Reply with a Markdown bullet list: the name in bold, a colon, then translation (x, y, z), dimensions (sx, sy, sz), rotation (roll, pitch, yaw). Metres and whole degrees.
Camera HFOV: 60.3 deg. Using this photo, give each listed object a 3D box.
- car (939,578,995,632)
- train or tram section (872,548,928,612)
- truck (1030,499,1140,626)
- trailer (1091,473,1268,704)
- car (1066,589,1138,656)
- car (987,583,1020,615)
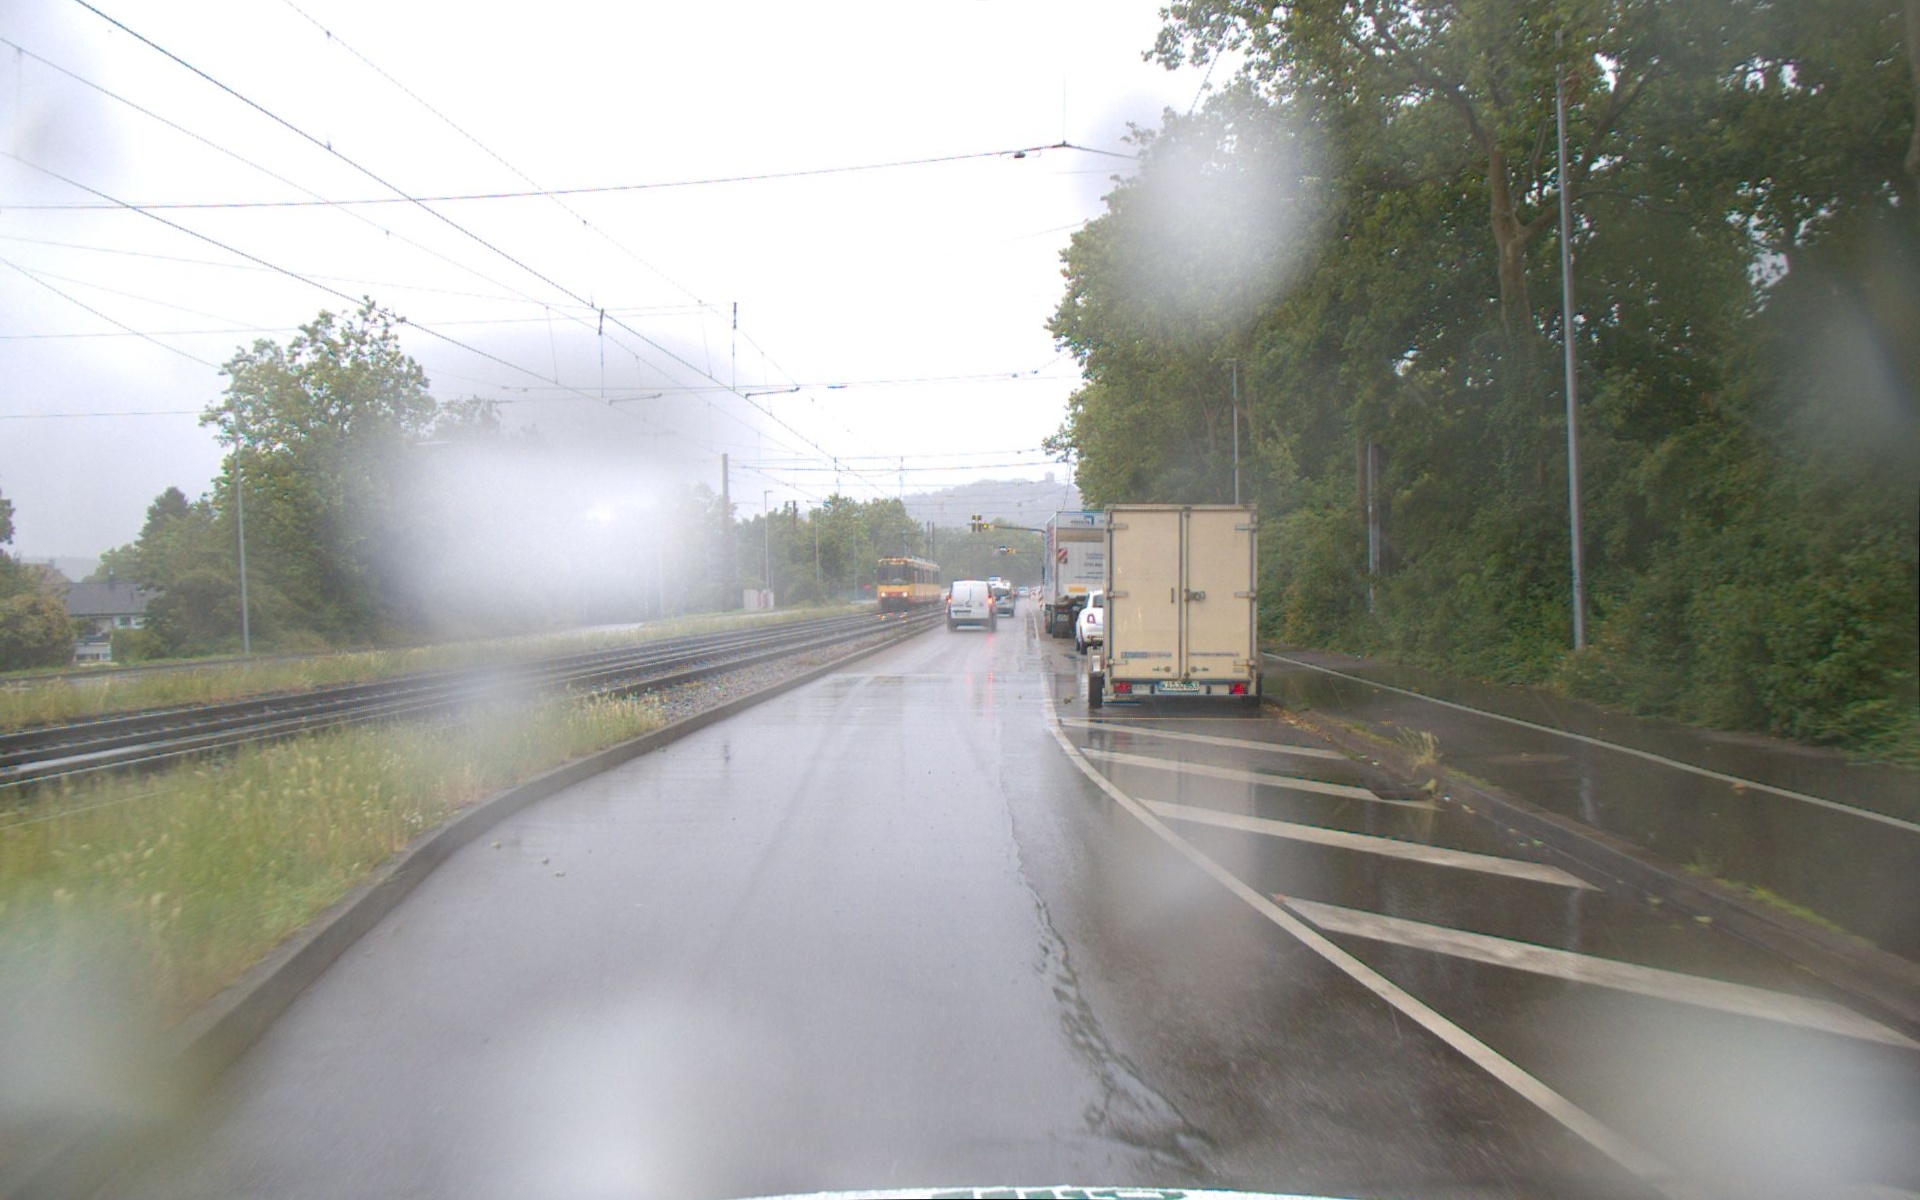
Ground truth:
- **car**: translation (0.227, 0.167, 61.115), dimensions (1.953, 1.881, 3.999), rotation (-1, 0, -1)
- **train or tram section**: translation (-4.096, -1.357, 116.096), dimensions (2.748, 4.222, 13.024), rotation (0, 0, 3)
- **truck**: translation (3.945, -1.106, 54.330), dimensions (2.719, 3.769, 9.850), rotation (0, 0, -1)
- **trailer**: translation (2.915, -0.123, 23.043), dimensions (2.120, 2.806, 5.680), rotation (0, 0, 5)
- **car**: translation (3.518, 0.521, 41.122), dimensions (1.677, 1.555, 4.003), rotation (-1, 0, 5)
- **car**: translation (2.385, -0.034, 89.759), dimensions (1.749, 1.671, 3.969), rotation (0, 0, 2)
